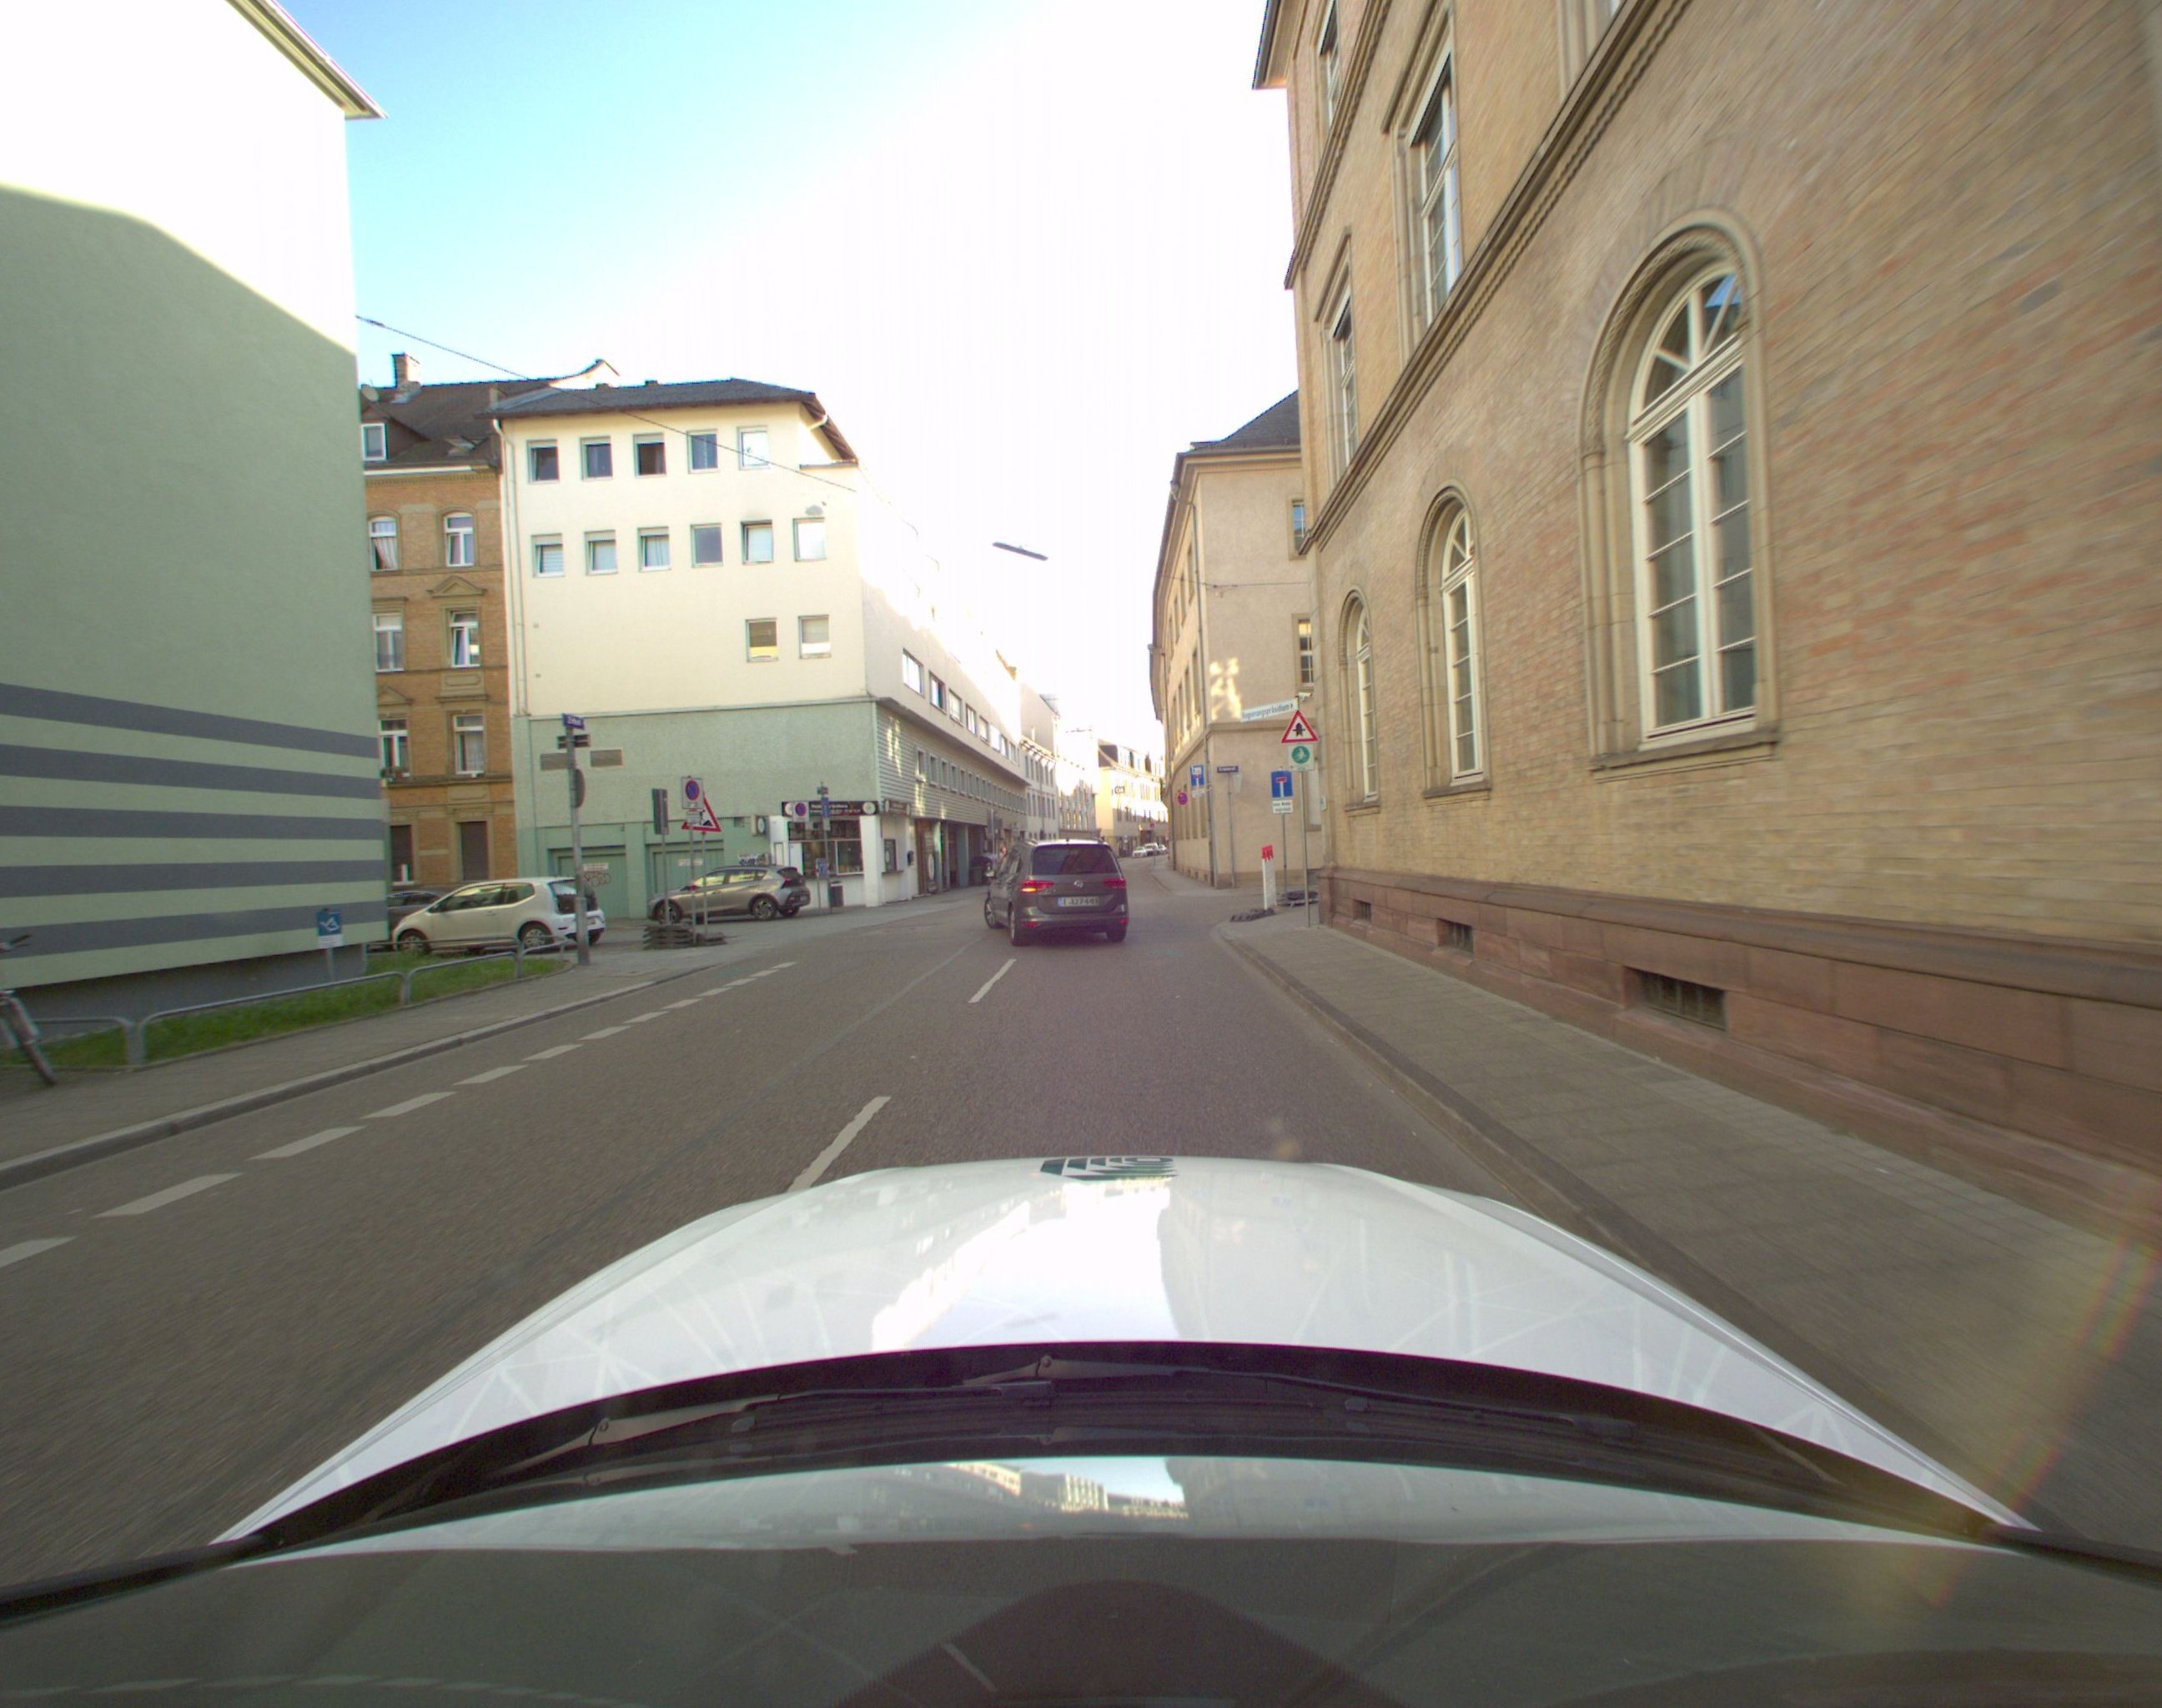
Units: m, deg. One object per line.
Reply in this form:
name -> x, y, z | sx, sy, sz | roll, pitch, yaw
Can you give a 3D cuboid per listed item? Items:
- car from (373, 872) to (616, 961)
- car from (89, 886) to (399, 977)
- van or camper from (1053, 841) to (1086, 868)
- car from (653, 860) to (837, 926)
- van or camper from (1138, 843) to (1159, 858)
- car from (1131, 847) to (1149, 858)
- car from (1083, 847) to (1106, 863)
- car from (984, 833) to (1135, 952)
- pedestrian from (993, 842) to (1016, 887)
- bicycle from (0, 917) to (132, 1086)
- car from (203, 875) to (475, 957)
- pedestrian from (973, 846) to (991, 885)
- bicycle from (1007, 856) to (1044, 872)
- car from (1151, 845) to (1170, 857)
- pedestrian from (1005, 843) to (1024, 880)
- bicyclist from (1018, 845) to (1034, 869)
car -> -11.610, 1.207, 16.299 | 3.486, 1.442, 1.815 | -3, 1, 3
car -> -16.590, 1.507, 16.302 | 4.339, 1.443, 1.815 | -2, 0, 2
van or camper -> -0.886, -0.012, 65.806 | 1.983, 2.013, 4.492 | -3, 0, 7
car -> -9.024, 1.027, 22.132 | 4.081, 1.442, 1.949 | -3, 1, 3
van or camper -> 9.816, -0.503, 117.821 | 1.978, 2.013, 5.021 | -2, 1, 17
car -> 8.134, -0.237, 112.114 | 1.721, 1.468, 4.017 | -3, 0, 15
car -> 1.377, 0.049, 81.959 | 1.856, 1.468, 3.841 | -2, 1, 6
car -> -0.523, 0.531, 13.680 | 1.763, 1.607, 3.983 | -3, 1, -12
pedestrian -> -3.141, 0.423, 33.536 | 0.550, 1.829, 0.735 | -3, 0, 25
bicycle -> -8.584, 1.099, 6.137 | 1.927, 1.179, 0.612 | 0, 0, -8
car -> -17.328, 1.419, 19.177 | 4.594, 1.541, 2.002 | -3, 0, 3
pedestrian -> -4.818, 0.547, 39.761 | 0.726, 1.829, 0.557 | -3, 0, 1
bicycle -> -3.863, 0.711, 56.679 | 2.516, 1.054, 0.839 | -2, 1, 36
car -> 12.132, -0.460, 124.075 | 1.811, 1.725, 4.019 | -3, 0, 18
pedestrian -> -3.326, 0.363, 40.865 | 0.550, 1.829, 0.735 | -3, 0, 25
bicyclist -> -3.825, 0.210, 56.637 | 0.749, 1.561, 0.839 | -2, 0, 36
